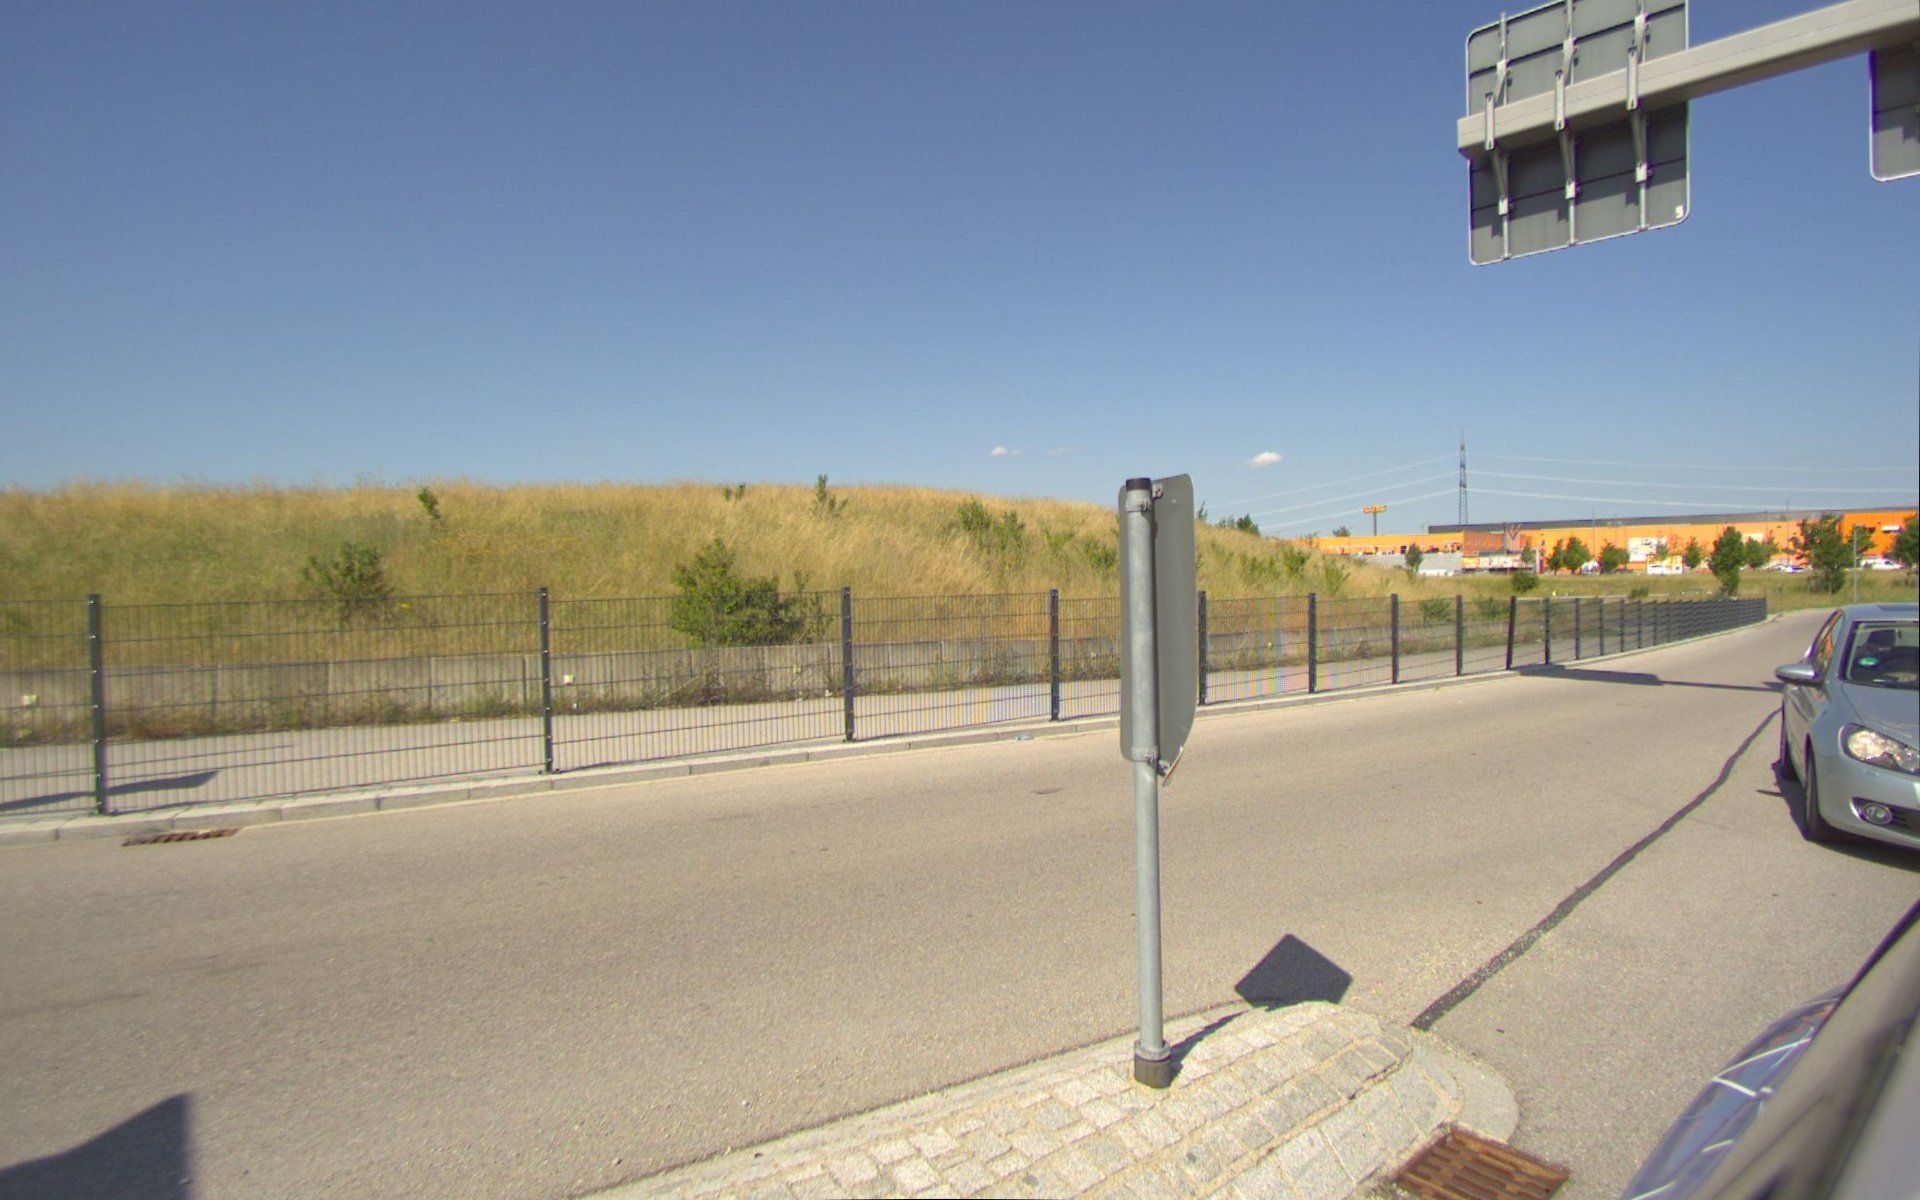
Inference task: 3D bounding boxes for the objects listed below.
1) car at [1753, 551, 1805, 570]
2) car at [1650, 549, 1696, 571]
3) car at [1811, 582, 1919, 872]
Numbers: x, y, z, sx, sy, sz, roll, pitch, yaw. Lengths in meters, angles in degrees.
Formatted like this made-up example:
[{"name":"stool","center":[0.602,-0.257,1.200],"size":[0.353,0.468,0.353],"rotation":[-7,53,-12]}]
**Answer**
[{"name":"car","center":[96.133,-4.642,118.868],"size":[4.611,2.039,1.973],"rotation":[-1,0,38]},{"name":"car","center":[88.457,-4.962,125.597],"size":[4.611,2.580,1.973],"rotation":[-1,0,38]},{"name":"car","center":[6.614,0.662,6.433],"size":[1.741,1.486,3.902],"rotation":[3,3,41]}]
